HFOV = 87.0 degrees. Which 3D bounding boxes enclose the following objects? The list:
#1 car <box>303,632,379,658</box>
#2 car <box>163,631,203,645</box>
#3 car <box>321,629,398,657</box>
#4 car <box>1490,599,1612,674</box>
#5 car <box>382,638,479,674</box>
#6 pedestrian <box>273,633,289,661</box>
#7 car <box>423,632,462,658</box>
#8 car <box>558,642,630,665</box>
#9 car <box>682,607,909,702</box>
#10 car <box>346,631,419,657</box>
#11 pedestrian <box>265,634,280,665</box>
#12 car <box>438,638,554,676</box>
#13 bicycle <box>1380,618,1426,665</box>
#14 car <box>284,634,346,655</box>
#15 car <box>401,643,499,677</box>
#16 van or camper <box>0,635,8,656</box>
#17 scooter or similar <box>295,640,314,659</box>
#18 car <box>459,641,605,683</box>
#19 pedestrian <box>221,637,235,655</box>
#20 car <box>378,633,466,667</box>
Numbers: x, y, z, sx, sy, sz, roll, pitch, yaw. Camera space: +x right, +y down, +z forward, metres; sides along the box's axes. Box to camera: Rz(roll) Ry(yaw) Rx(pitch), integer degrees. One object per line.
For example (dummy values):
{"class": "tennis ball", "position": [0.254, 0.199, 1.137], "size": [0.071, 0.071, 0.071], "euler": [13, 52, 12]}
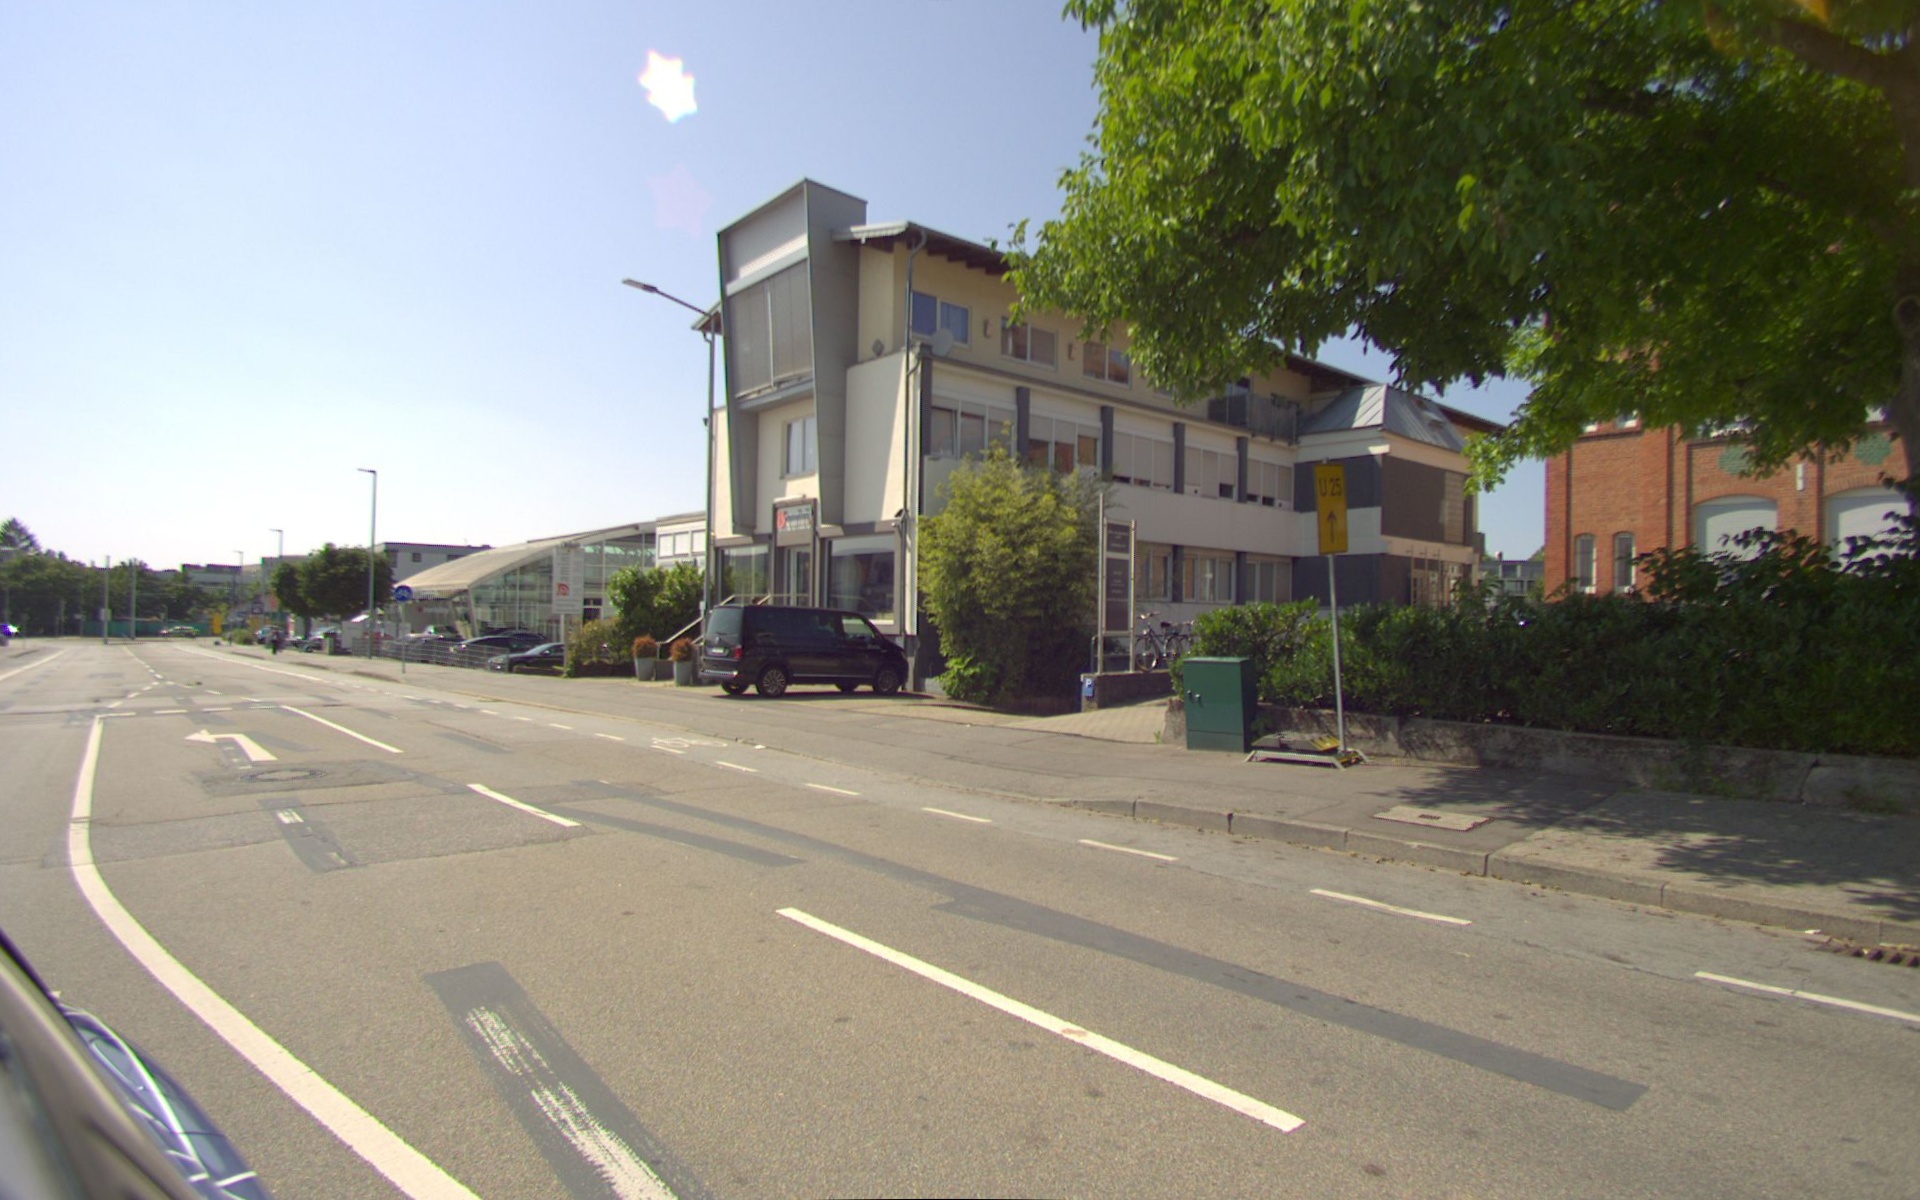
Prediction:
{"class": "car", "position": [-43.073, 3.080, 70.488], "size": [1.841, 1.709, 4.559], "euler": [-1, -2, 14]}
{"class": "car", "position": [-106.544, 5.229, 138.773], "size": [3.931, 1.719, 2.006], "euler": [-2, 0, -19]}
{"class": "car", "position": [-40.622, 2.902, 68.560], "size": [1.892, 1.720, 4.461], "euler": [-1, 0, 14]}
{"class": "car", "position": [14.393, 0.816, 24.547], "size": [1.626, 1.549, 3.941], "euler": [0, 2, 45]}
{"class": "car", "position": [-27.236, 2.885, 52.093], "size": [3.940, 1.454, 1.861], "euler": [10, -8, -43]}
{"class": "pedestrian", "position": [-45.902, 3.149, 68.430], "size": [0.714, 1.862, 0.912], "euler": [2, -3, -43]}
{"class": "car", "position": [-34.868, 3.012, 68.154], "size": [1.966, 1.697, 4.011], "euler": [1, -2, -32]}
{"class": "car", "position": [-23.282, 3.388, 64.381], "size": [3.937, 1.370, 1.862], "euler": [1, -2, -41]}
{"class": "car", "position": [-3.566, 1.212, 22.421], "size": [4.508, 1.880, 2.096], "euler": [3, -4, -40]}
{"class": "car", "position": [-37.829, 2.868, 66.413], "size": [1.844, 1.562, 3.975], "euler": [-1, -2, 19]}
{"class": "pedestrian", "position": [-43.314, 3.118, 63.789], "size": [0.723, 1.882, 1.049], "euler": [2, -3, -36]}
{"class": "car", "position": [-20.587, 2.495, 44.987], "size": [4.246, 1.570, 1.997], "euler": [2, -3, -44]}
{"class": "bicycle", "position": [11.527, 1.068, 26.330], "size": [0.514, 1.109, 1.613], "euler": [-2, 0, 45]}
{"class": "car", "position": [-50.308, 3.463, 79.030], "size": [1.885, 1.470, 4.152], "euler": [-1, -1, 6]}
{"class": "car", "position": [-25.346, 2.957, 50.382], "size": [3.940, 1.501, 1.861], "euler": [2, -1, -44]}
{"class": "van or camper", "position": [-92.560, 4.242, 94.429], "size": [1.971, 1.976, 5.103], "euler": [1, -3, 19]}
{"class": "scooter or similar", "position": [-43.486, 3.263, 67.130], "size": [1.490, 1.257, 0.736], "euler": [-2, -2, 42]}
{"class": "car", "position": [-16.111, 2.289, 38.221], "size": [4.681, 1.492, 2.050], "euler": [2, -3, -42]}
{"class": "pedestrian", "position": [-69.291, 4.370, 95.831], "size": [0.980, 1.698, 0.802], "euler": [1, -3, -29]}
{"class": "car", "position": [-28.811, 2.651, 54.274], "size": [3.842, 1.455, 1.826], "euler": [-3, 3, -40]}
